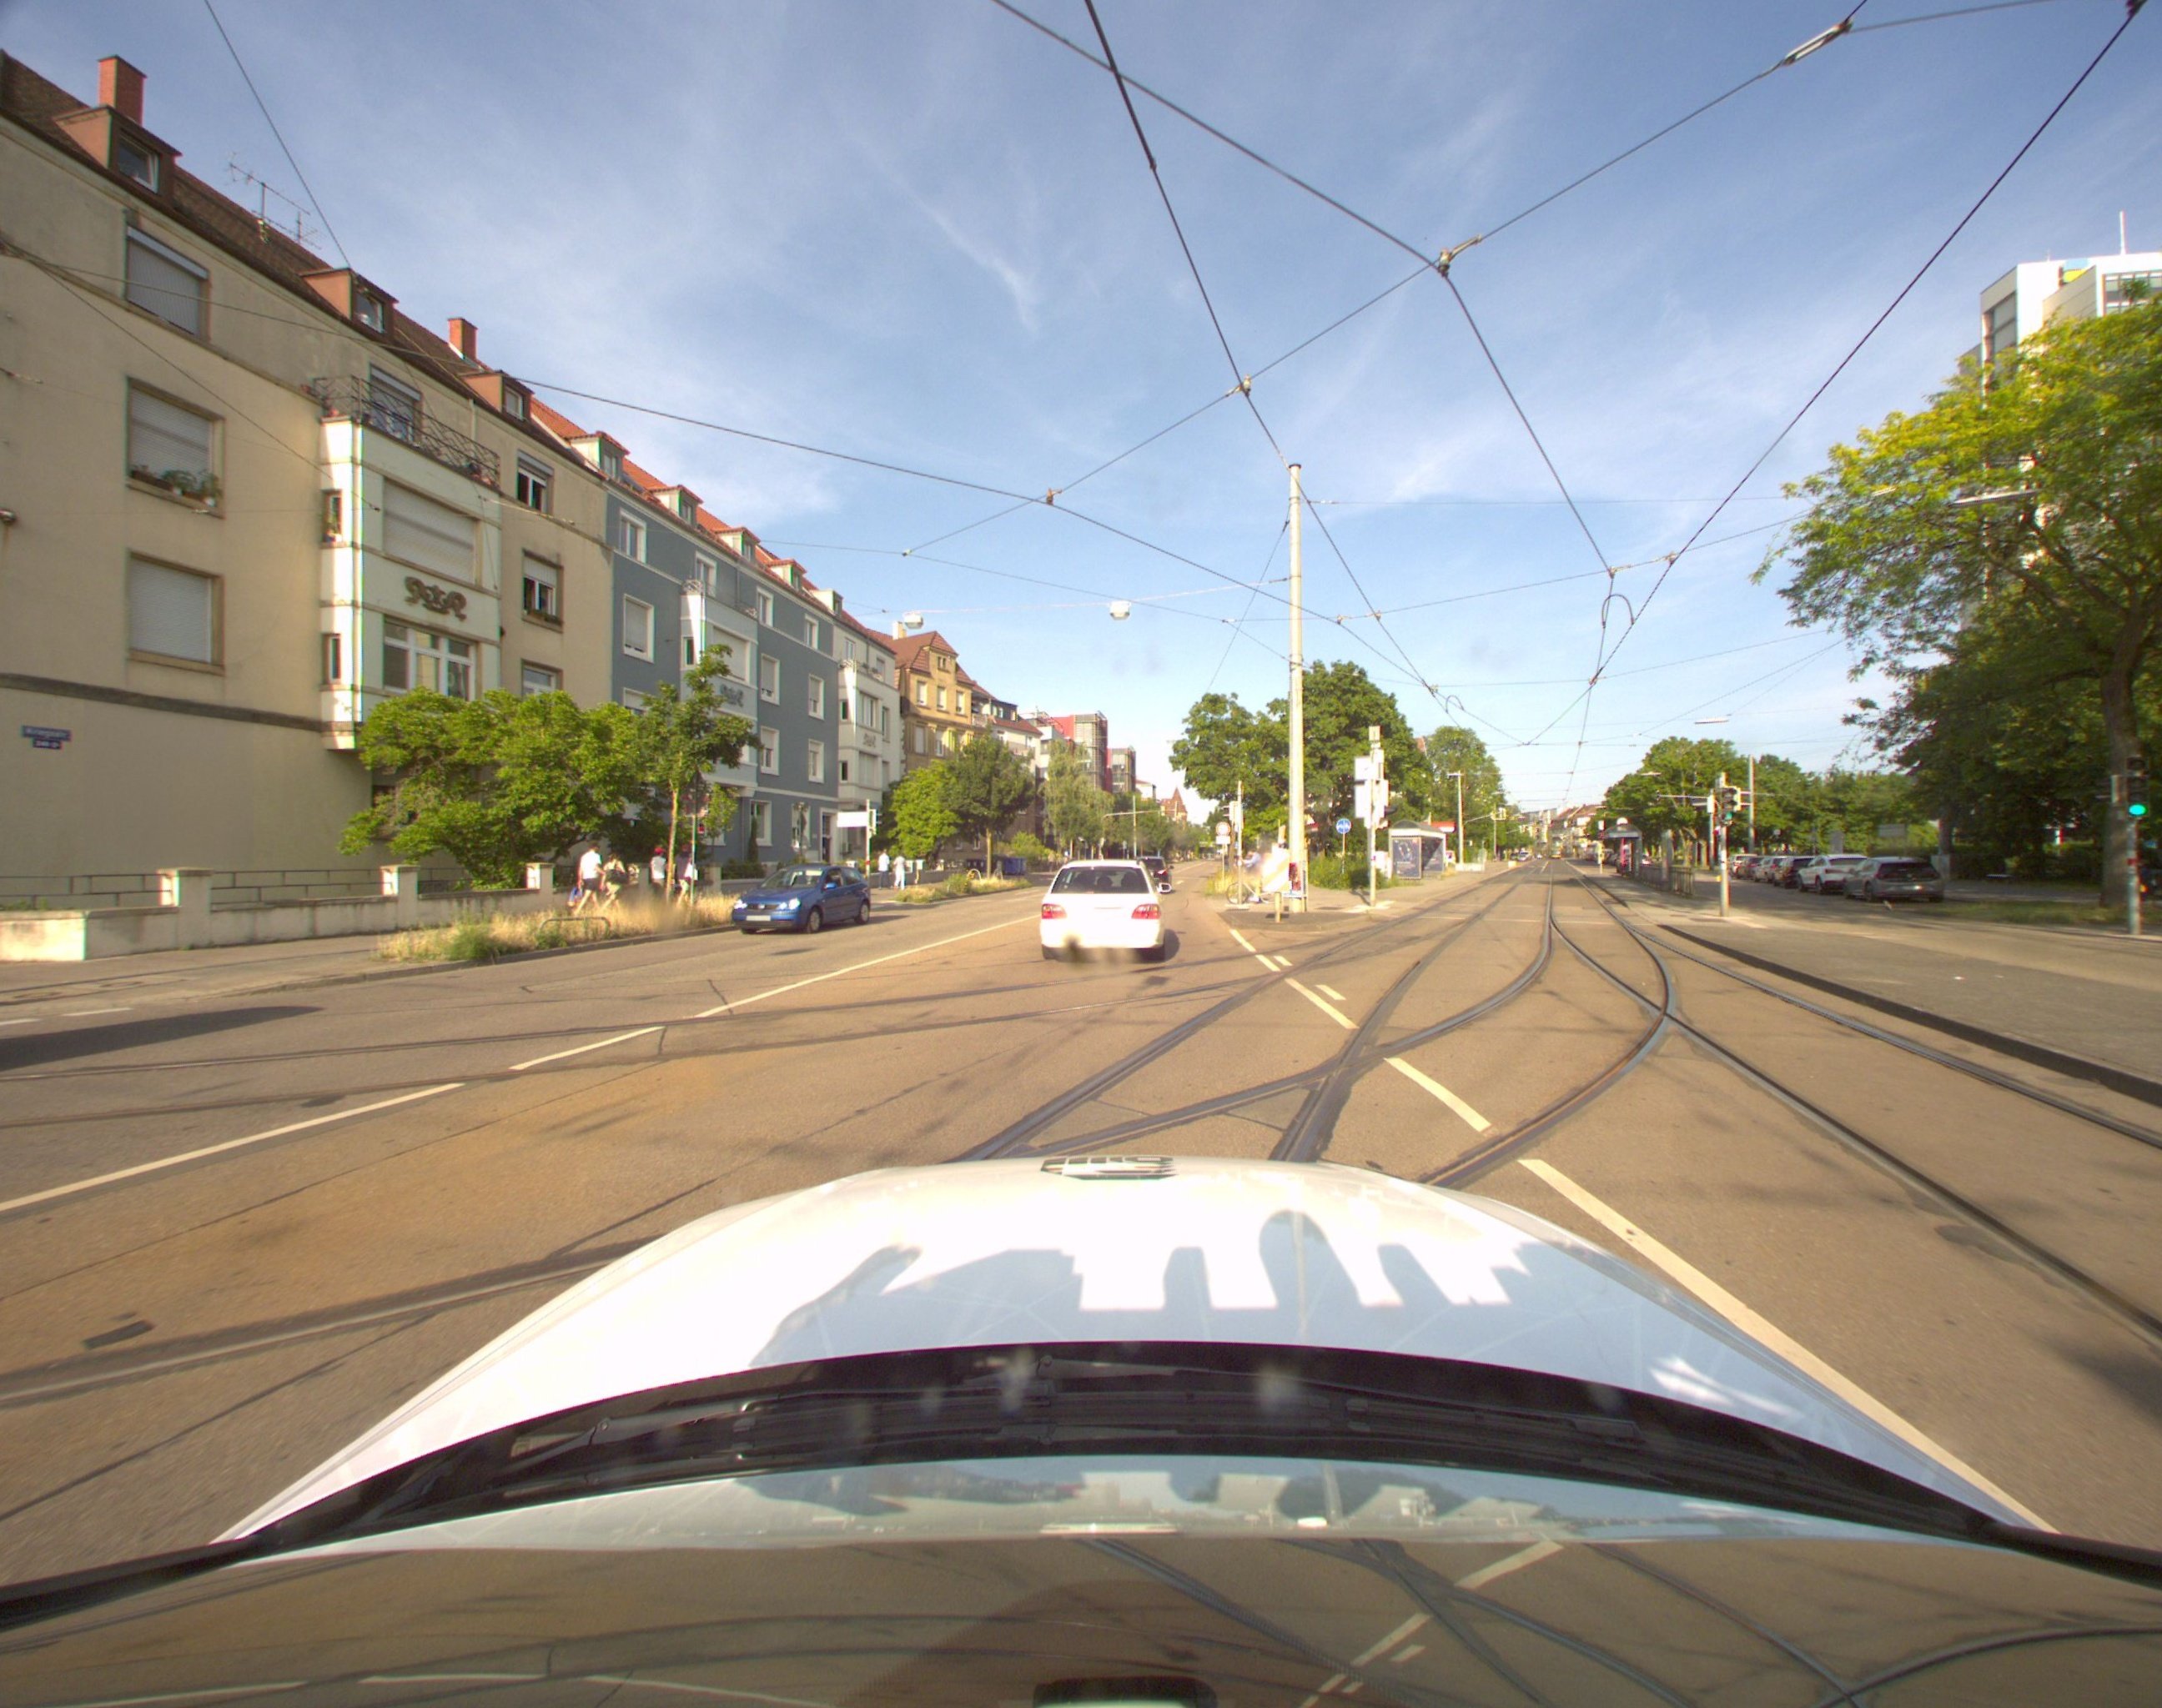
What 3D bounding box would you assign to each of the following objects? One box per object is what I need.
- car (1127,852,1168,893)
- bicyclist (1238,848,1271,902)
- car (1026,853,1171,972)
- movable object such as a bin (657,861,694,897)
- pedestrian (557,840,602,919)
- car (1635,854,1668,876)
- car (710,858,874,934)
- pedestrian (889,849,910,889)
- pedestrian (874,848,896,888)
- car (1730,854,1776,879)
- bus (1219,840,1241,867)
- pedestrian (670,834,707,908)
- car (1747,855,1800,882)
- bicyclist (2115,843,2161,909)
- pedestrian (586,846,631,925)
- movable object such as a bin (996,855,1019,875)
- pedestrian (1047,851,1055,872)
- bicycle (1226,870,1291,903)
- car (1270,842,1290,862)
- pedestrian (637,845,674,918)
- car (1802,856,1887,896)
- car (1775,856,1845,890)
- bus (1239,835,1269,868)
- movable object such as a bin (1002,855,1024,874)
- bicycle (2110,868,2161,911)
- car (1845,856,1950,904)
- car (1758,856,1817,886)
[{"bbox_3d":[2.879,0.773,35.450,1.634,1.600,3.820,2,0,5],"label":"car"},{"bbox_3d":[5.500,0.660,25.822,0.895,1.699,0.733,-1,0,5],"label":"bicyclist"},{"bbox_3d":[0.435,0.783,12.739,1.825,1.501,3.823,2,0,7],"label":"car"},{"bbox_3d":[-10.897,0.660,21.914,0.579,0.947,0.665,0,0,14],"label":"movable object such as a bin"},{"bbox_3d":[-12.110,0.602,19.682,0.655,1.881,0.628,0,0,8],"label":"pedestrian"},{"bbox_3d":[43.596,0.869,62.291,1.818,1.600,3.838,2,0,31],"label":"car"},{"bbox_3d":[-6.168,0.816,17.914,1.679,1.441,4.010,0,0,9],"label":"car"},{"bbox_3d":[-7.933,0.642,35.651,0.635,1.751,0.913,0,0,8],"label":"pedestrian"},{"bbox_3d":[-8.656,0.596,35.992,0.635,1.751,0.913,0,0,8],"label":"pedestrian"},{"bbox_3d":[43.461,0.789,52.752,1.835,1.515,4.025,-1,-1,33],"label":"car"},{"bbox_3d":[14.808,-0.024,80.827,1.788,2.555,4.007,3,-1,7],"label":"bus"},{"bbox_3d":[-10.157,0.428,21.091,0.581,1.881,0.628,0,0,10],"label":"pedestrian"},{"bbox_3d":[40.273,0.847,47.446,1.835,1.515,4.025,-1,-1,33],"label":"car"},{"bbox_3d":[29.251,0.579,22.233,0.713,1.746,1.146,-3,-1,21],"label":"bicyclist"},{"bbox_3d":[-11.354,0.742,19.580,0.669,1.848,0.652,0,0,12],"label":"pedestrian"},{"bbox_3d":[-5.274,0.792,58.411,1.599,1.421,1.083,0,0,-3],"label":"movable object such as a bin"},{"bbox_3d":[-2.577,0.622,69.868,0.635,1.751,0.609,0,0,8],"label":"pedestrian"},{"bbox_3d":[5.612,1.027,25.811,1.905,0.994,0.728,-2,0,4],"label":"bicycle"},{"bbox_3d":[18.858,-0.196,77.204,1.734,1.874,4.013,0,0,12],"label":"car"},{"bbox_3d":[-11.059,0.703,21.187,0.581,1.881,0.628,0,0,8],"label":"pedestrian"},{"bbox_3d":[31.041,0.850,33.238,1.835,1.515,4.025,-1,-1,33],"label":"car"},{"bbox_3d":[34.240,0.855,38.352,1.835,1.515,4.025,-1,-1,33],"label":"car"},{"bbox_3d":[13.757,-0.156,64.956,1.789,2.413,4.006,3,-1,6],"label":"bus"},{"bbox_3d":[-4.979,0.752,59.635,1.530,1.421,1.083,0,0,-3],"label":"movable object such as a bin"},{"bbox_3d":[29.214,0.964,22.202,0.635,1.088,1.743,-2,-1,22],"label":"bicycle"},{"bbox_3d":[28.199,0.863,28.259,1.835,1.515,4.025,-1,-1,34],"label":"car"},{"bbox_3d":[37.876,0.894,43.732,1.835,1.515,4.025,-1,-1,33],"label":"car"}]
